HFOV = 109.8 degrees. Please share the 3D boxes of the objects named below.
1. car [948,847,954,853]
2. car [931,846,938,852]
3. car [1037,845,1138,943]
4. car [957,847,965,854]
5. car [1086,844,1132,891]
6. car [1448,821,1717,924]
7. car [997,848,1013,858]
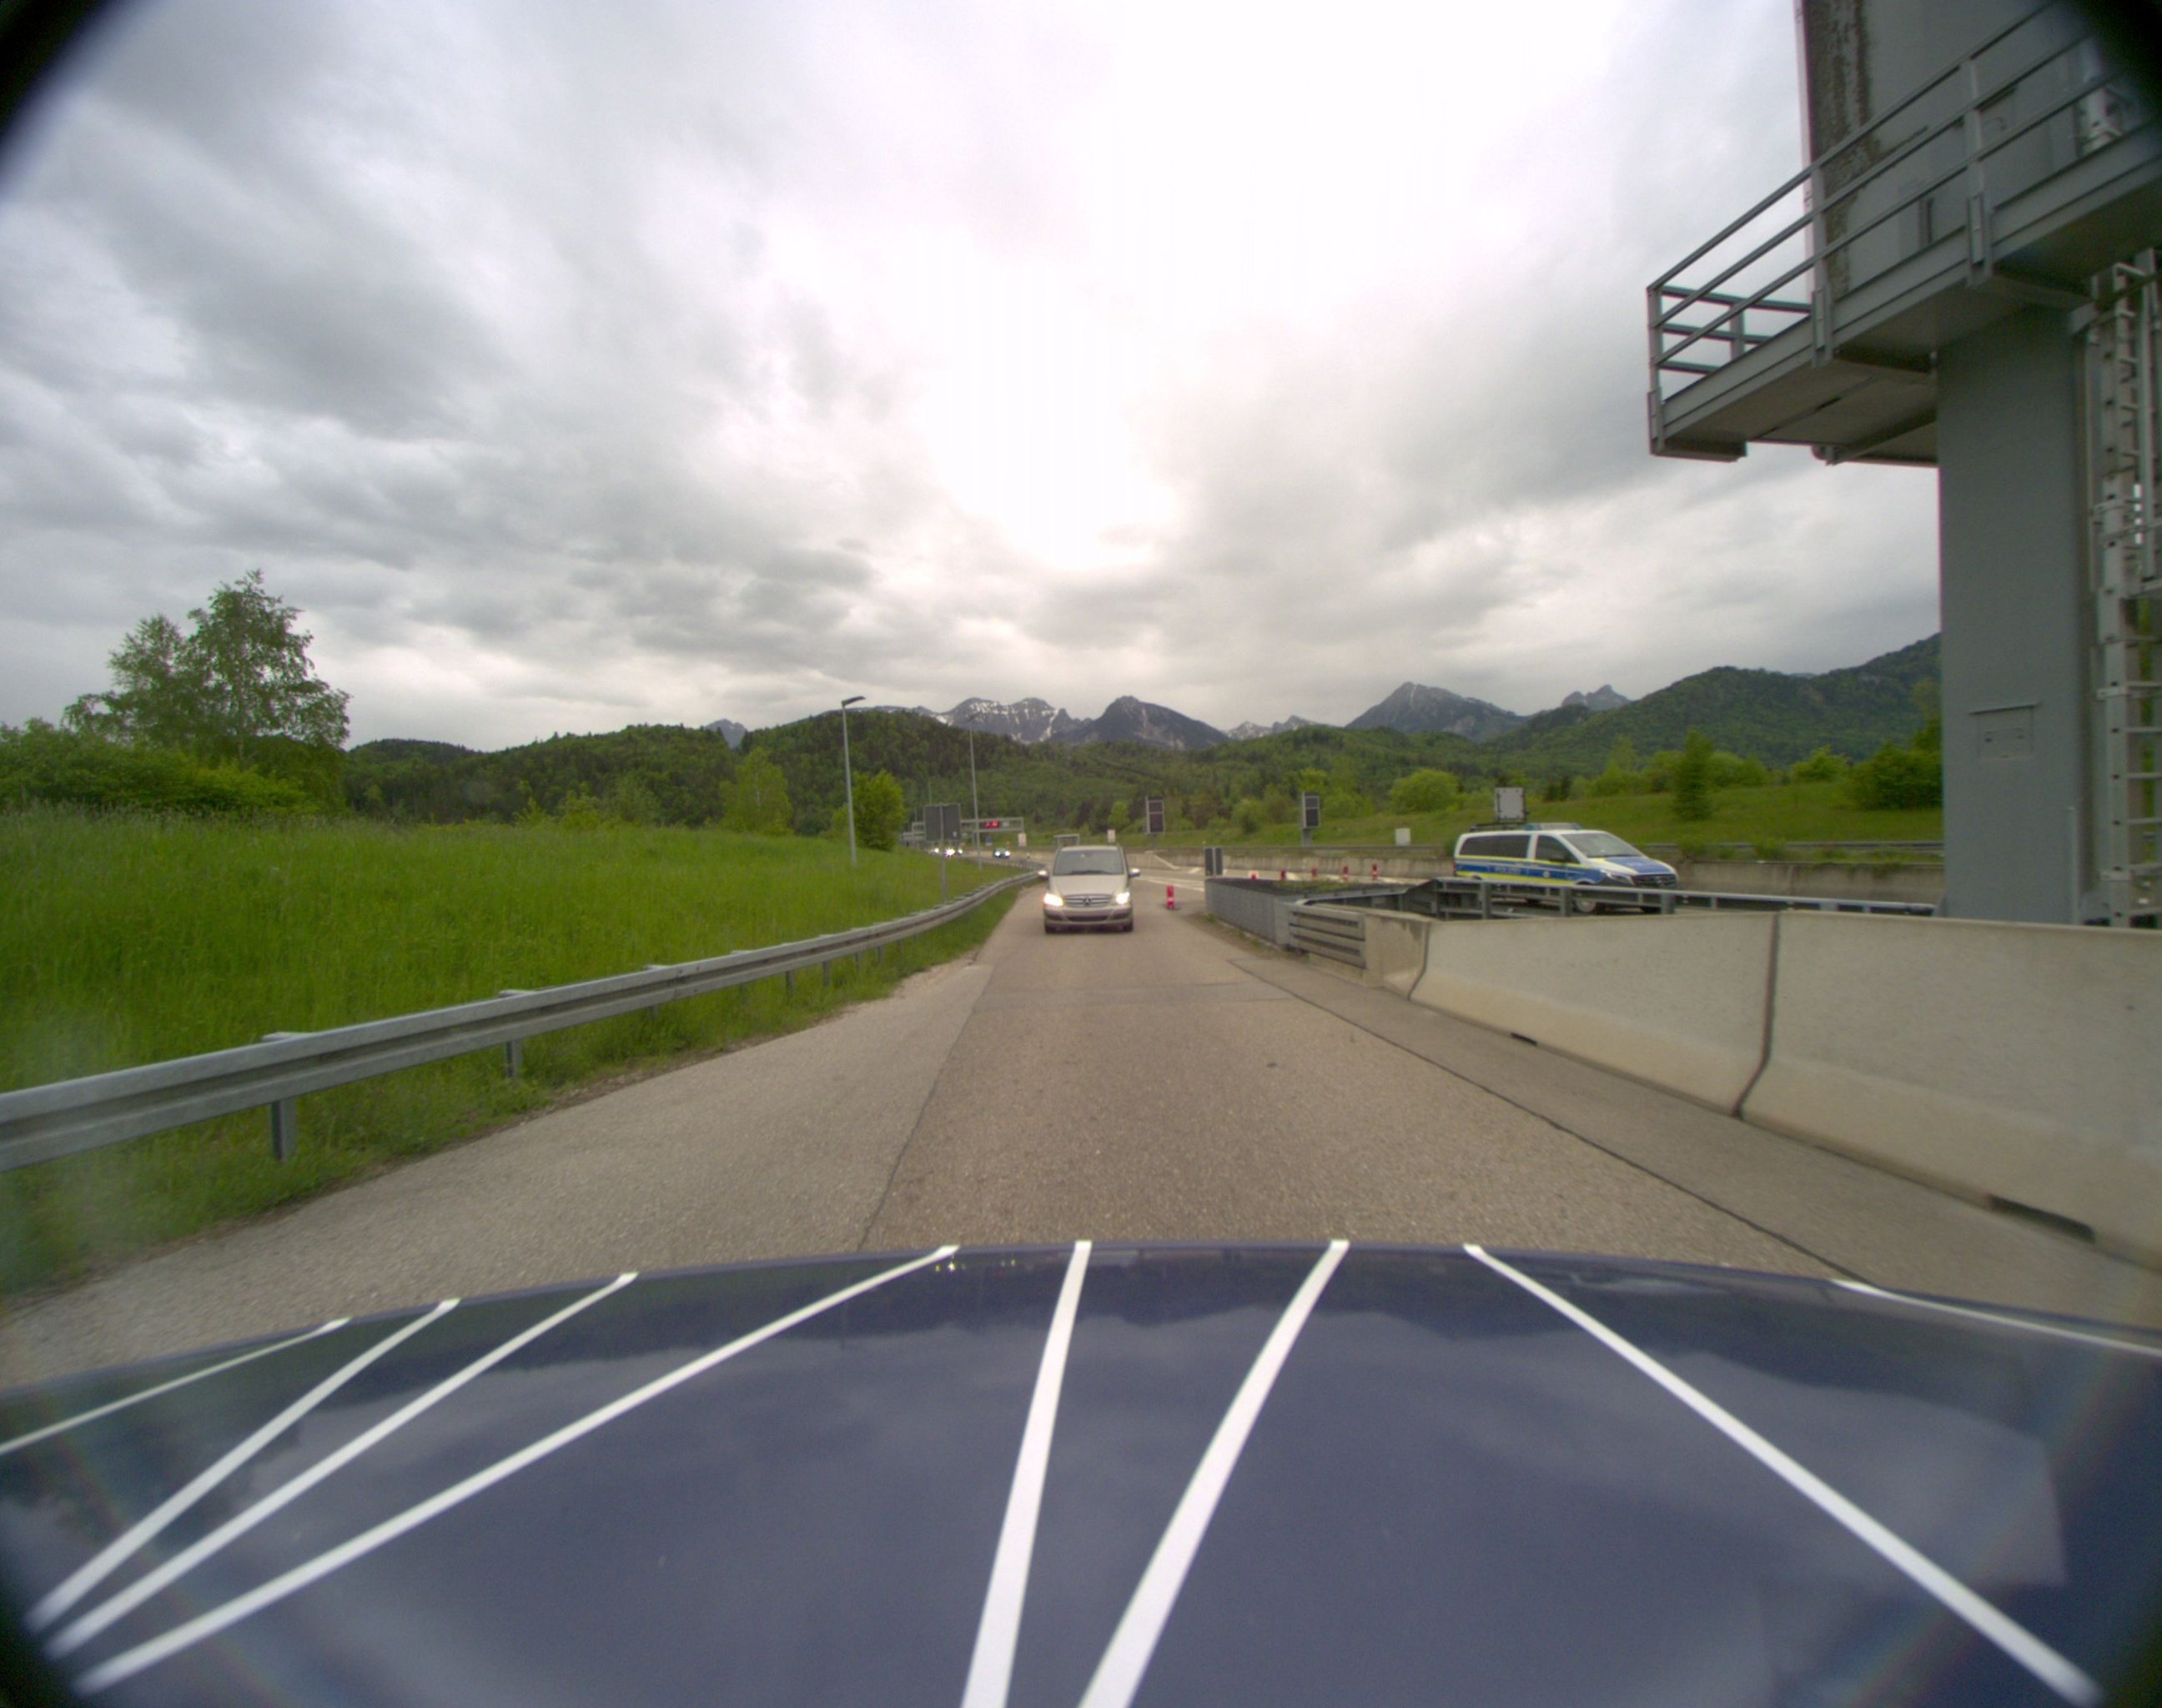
[{"bbox_3d":[-34.383,-1.024,201.221,1.632,1.688,3.492,-2,1,-10],"label":"car"},{"bbox_3d":[-48.946,-1.543,253.380,2.001,2.002,3.995,-2,1,-13],"label":"car"},{"bbox_3d":[0.230,0.749,17.310,1.922,1.871,5.138,-1,1,2],"label":"car"},{"bbox_3d":[-27.350,-0.823,173.090,1.632,1.688,3.492,-2,1,-10],"label":"car"},{"bbox_3d":[1.129,0.498,31.635,1.756,1.795,4.000,-1,1,1],"label":"car"},{"bbox_3d":[11.362,0.331,17.783,2.294,2.002,5.043,-2,1,-14],"label":"car"},{"bbox_3d":[-10.390,-0.114,103.886,1.665,1.329,3.787,-1,1,-14],"label":"car"}]
